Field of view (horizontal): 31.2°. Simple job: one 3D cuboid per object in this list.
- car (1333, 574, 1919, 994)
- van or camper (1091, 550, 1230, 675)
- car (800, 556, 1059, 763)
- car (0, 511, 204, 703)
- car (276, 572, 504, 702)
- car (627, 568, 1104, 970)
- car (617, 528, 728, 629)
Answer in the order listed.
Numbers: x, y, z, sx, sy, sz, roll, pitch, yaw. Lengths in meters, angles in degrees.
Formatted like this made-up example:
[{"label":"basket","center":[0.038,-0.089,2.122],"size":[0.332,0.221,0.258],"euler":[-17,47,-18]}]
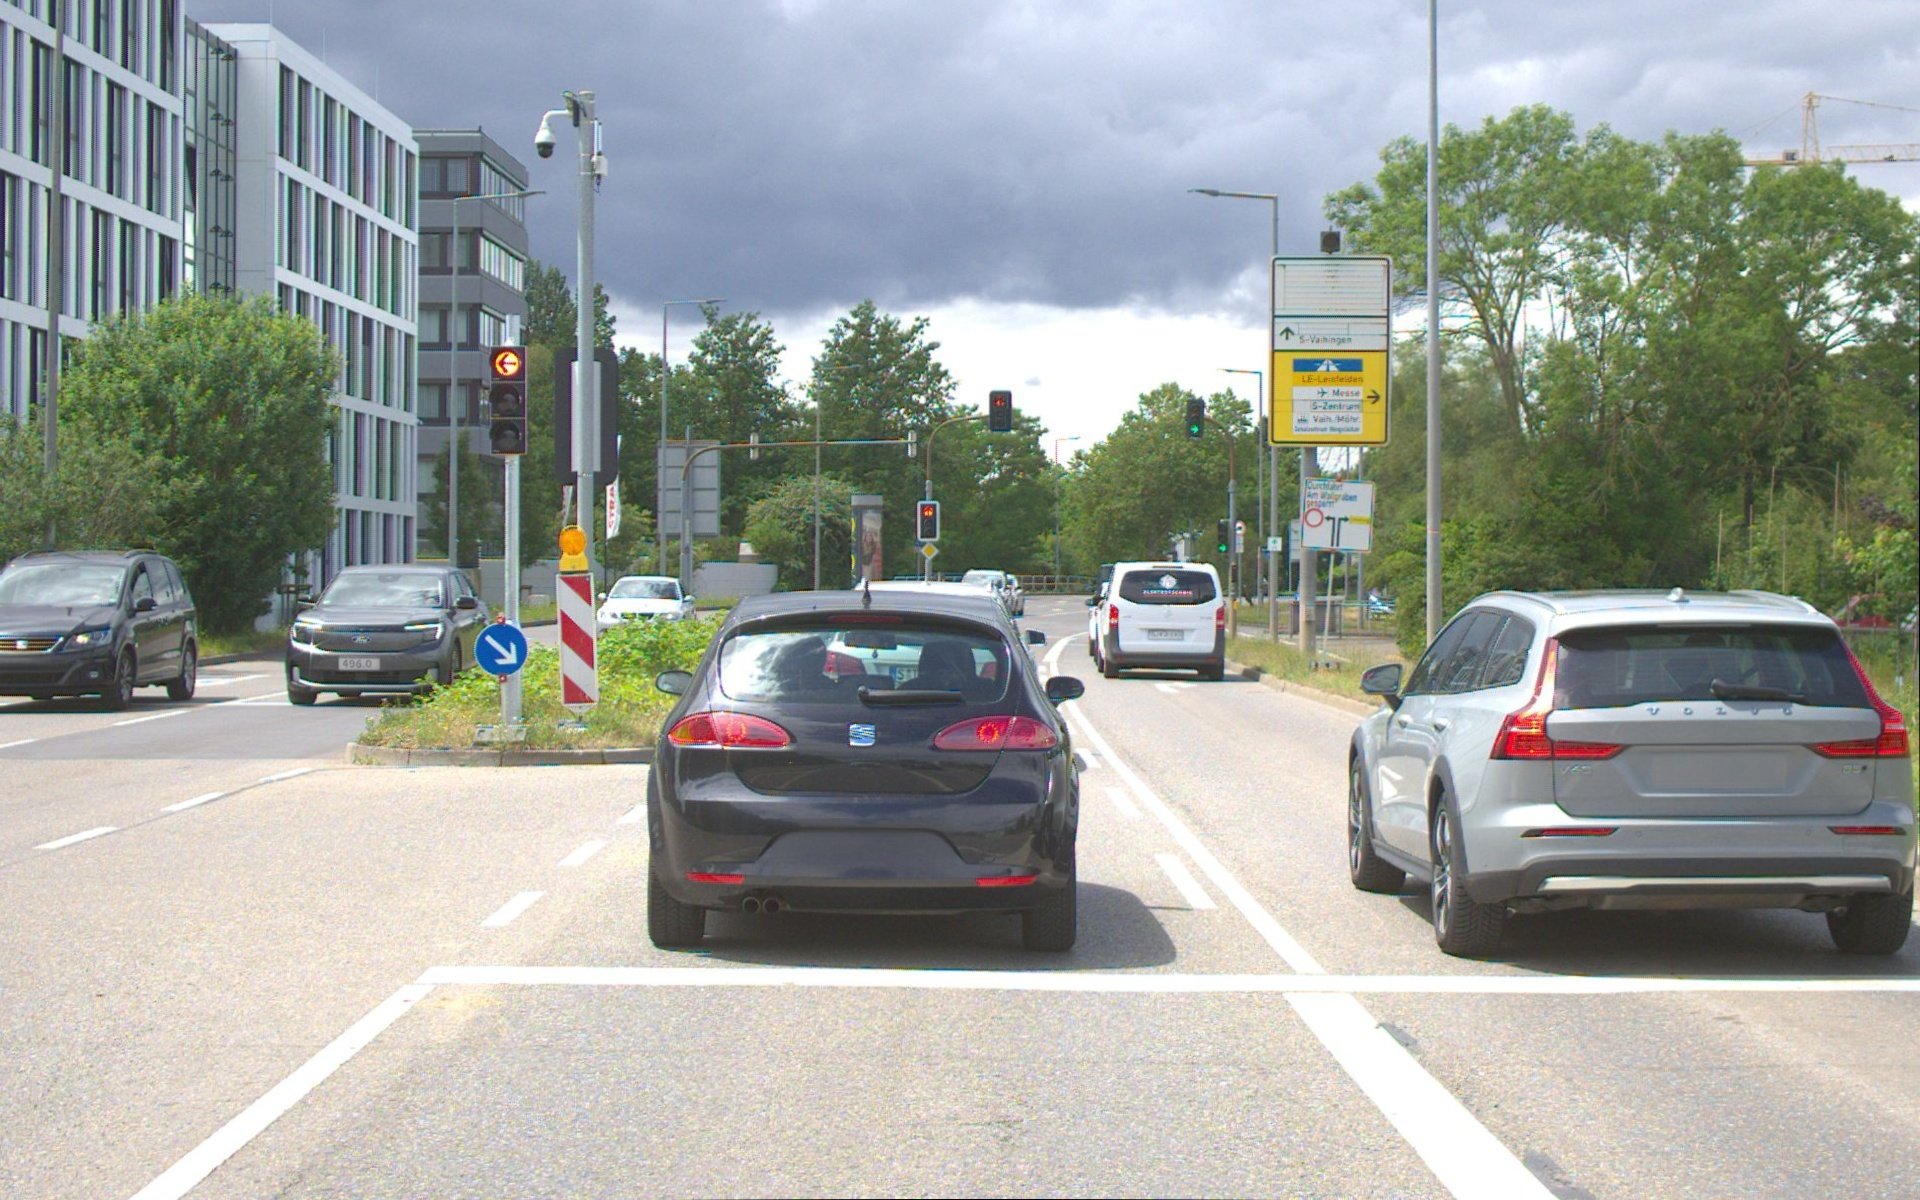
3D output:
[{"label":"car","center":[2.826,0.687,14.960],"size":[1.958,1.520,4.340],"euler":[-1,0,1]},{"label":"van or camper","center":[3.158,0.192,54.932],"size":[1.899,1.919,4.000],"euler":[0,0,-1]},{"label":"car","center":[-0.285,0.464,28.666],"size":[1.983,1.585,4.226],"euler":[1,0,-1]},{"label":"car","center":[-9.780,0.079,38.141],"size":[1.993,2.007,4.481],"euler":[0,0,-3]},{"label":"car","center":[-6.447,0.401,39.298],"size":[1.993,1.404,4.000],"euler":[0,0,-1]},{"label":"car","center":[-0.277,0.642,15.044],"size":[1.748,1.479,4.000],"euler":[1,0,3]},{"label":"car","center":[-5.868,-0.433,70.533],"size":[1.993,2.007,4.000],"euler":[0,0,-1]}]
